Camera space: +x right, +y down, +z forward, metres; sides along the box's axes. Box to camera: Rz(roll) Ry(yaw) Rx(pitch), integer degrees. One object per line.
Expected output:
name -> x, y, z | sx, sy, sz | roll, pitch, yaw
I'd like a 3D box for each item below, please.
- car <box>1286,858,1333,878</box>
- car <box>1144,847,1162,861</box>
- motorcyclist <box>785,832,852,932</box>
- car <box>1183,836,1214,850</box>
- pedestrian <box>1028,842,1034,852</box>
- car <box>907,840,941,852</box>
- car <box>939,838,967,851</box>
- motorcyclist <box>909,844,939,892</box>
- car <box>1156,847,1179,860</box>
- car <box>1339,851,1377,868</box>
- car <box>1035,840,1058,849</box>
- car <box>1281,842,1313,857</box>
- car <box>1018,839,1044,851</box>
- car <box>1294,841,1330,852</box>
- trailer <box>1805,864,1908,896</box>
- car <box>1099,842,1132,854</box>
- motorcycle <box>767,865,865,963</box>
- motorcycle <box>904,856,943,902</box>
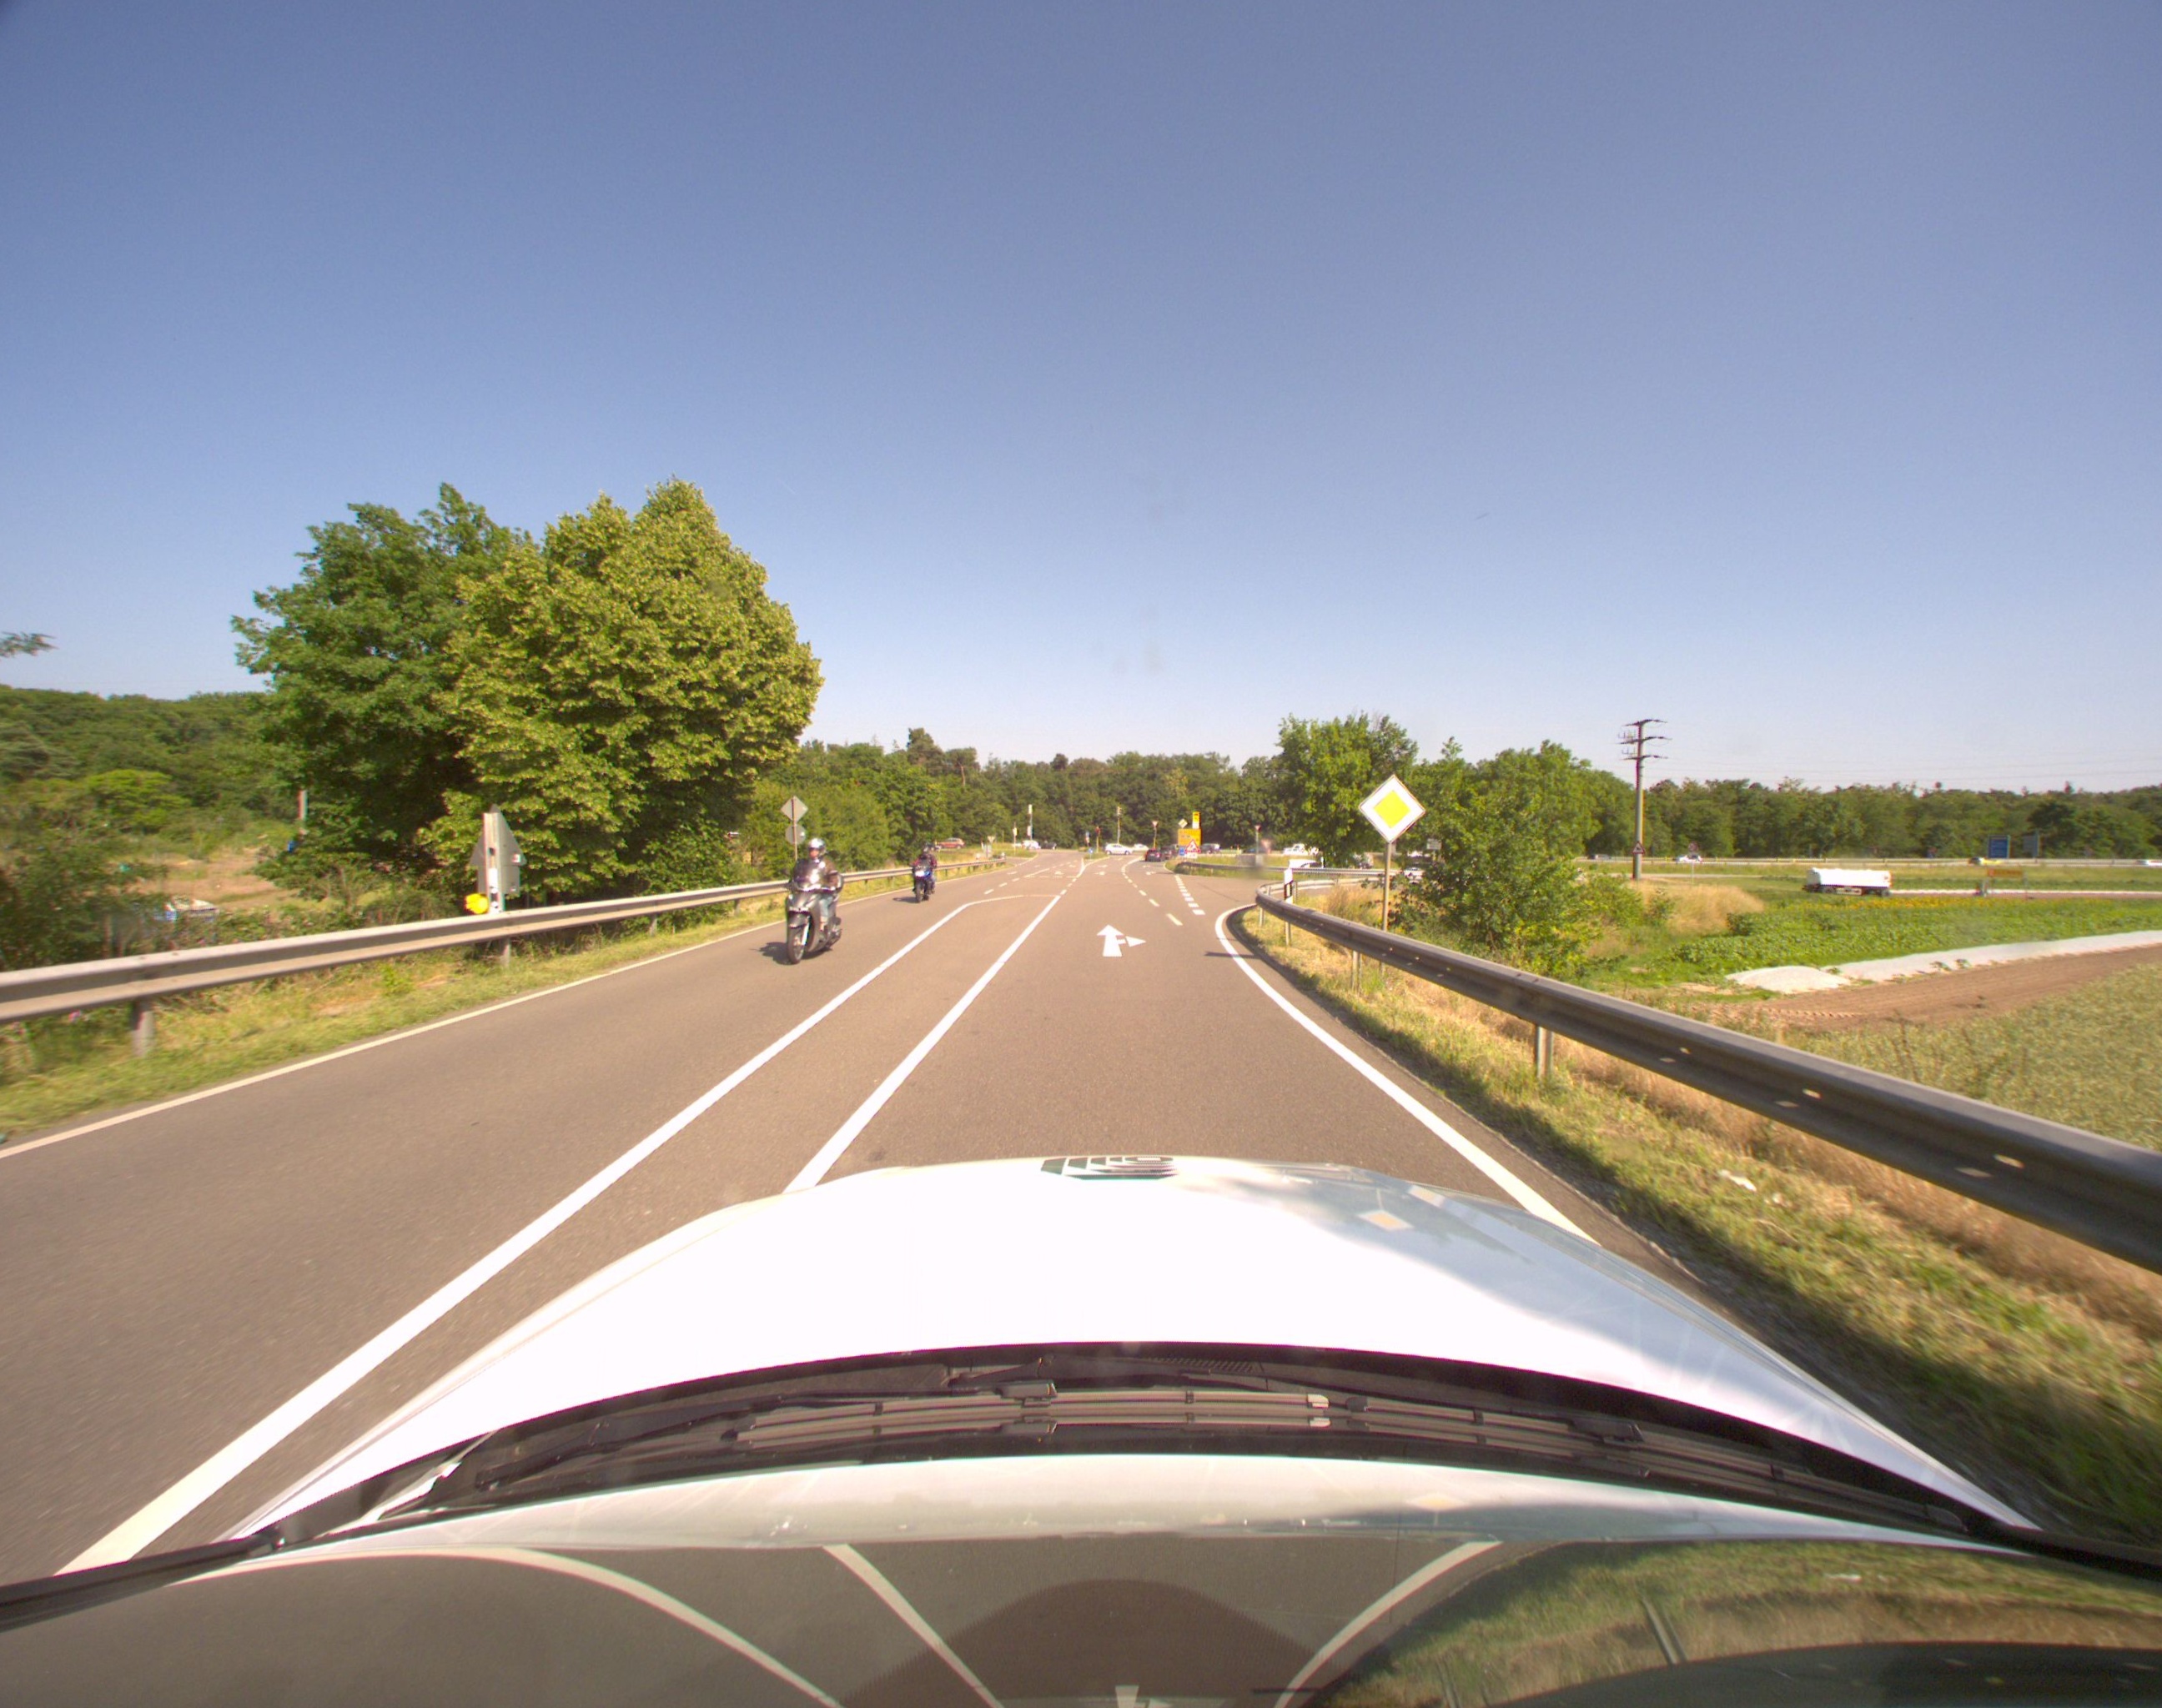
car -> 22.528, 1.396, 80.472 | 4.323, 1.783, 1.909 | 2, 1, 14
car -> 8.059, -0.039, 91.034 | 1.789, 1.398, 4.009 | -2, 0, 8
motorcyclist -> -3.846, 0.397, 11.981 | 0.696, 1.408, 0.784 | -1, 0, 1
car -> 16.489, -1.553, 114.076 | 3.980, 2.013, 1.798 | 0, 1, -5
pedestrian -> -8.324, -1.155, 135.533 | 0.670, 1.721, 0.764 | 0, 1, 31
car -> -21.322, -1.087, 110.667 | 4.357, 1.459, 1.997 | -1, 0, -5
car -> -18.838, -1.418, 119.888 | 3.986, 1.750, 1.757 | -1, 0, -10
motorcyclist -> -4.733, 0.404, 24.626 | 0.696, 1.408, 0.979 | -1, 0, 0
car -> 10.448, -0.107, 98.302 | 1.785, 1.501, 4.020 | 1, 1, 19
car -> 34.403, 0.694, 101.274 | 3.950, 1.876, 1.903 | 4, 1, 41
car -> -6.137, -1.661, 143.866 | 3.980, 1.422, 1.793 | -1, 0, -5
car -> 30.552, -0.617, 115.126 | 3.977, 2.013, 1.799 | 0, 1, -3
car -> -8.406, -1.496, 137.087 | 4.000, 2.013, 1.784 | -1, 0, -20
car -> 34.786, -1.178, 122.628 | 4.872, 1.552, 1.997 | -1, 0, -5
trailer -> 75.868, 2.483, 79.828 | 6.731, 2.670, 2.907 | 2, 1, 17
car -> 4.725, -0.821, 112.274 | 4.221, 1.459, 1.997 | -1, 0, -5
motorcycle -> -3.843, 0.821, 12.004 | 0.714, 1.250, 2.079 | -1, 0, 1
motorcycle -> -4.724, 0.727, 24.570 | 0.715, 1.308, 2.181 | -1, 0, 0
